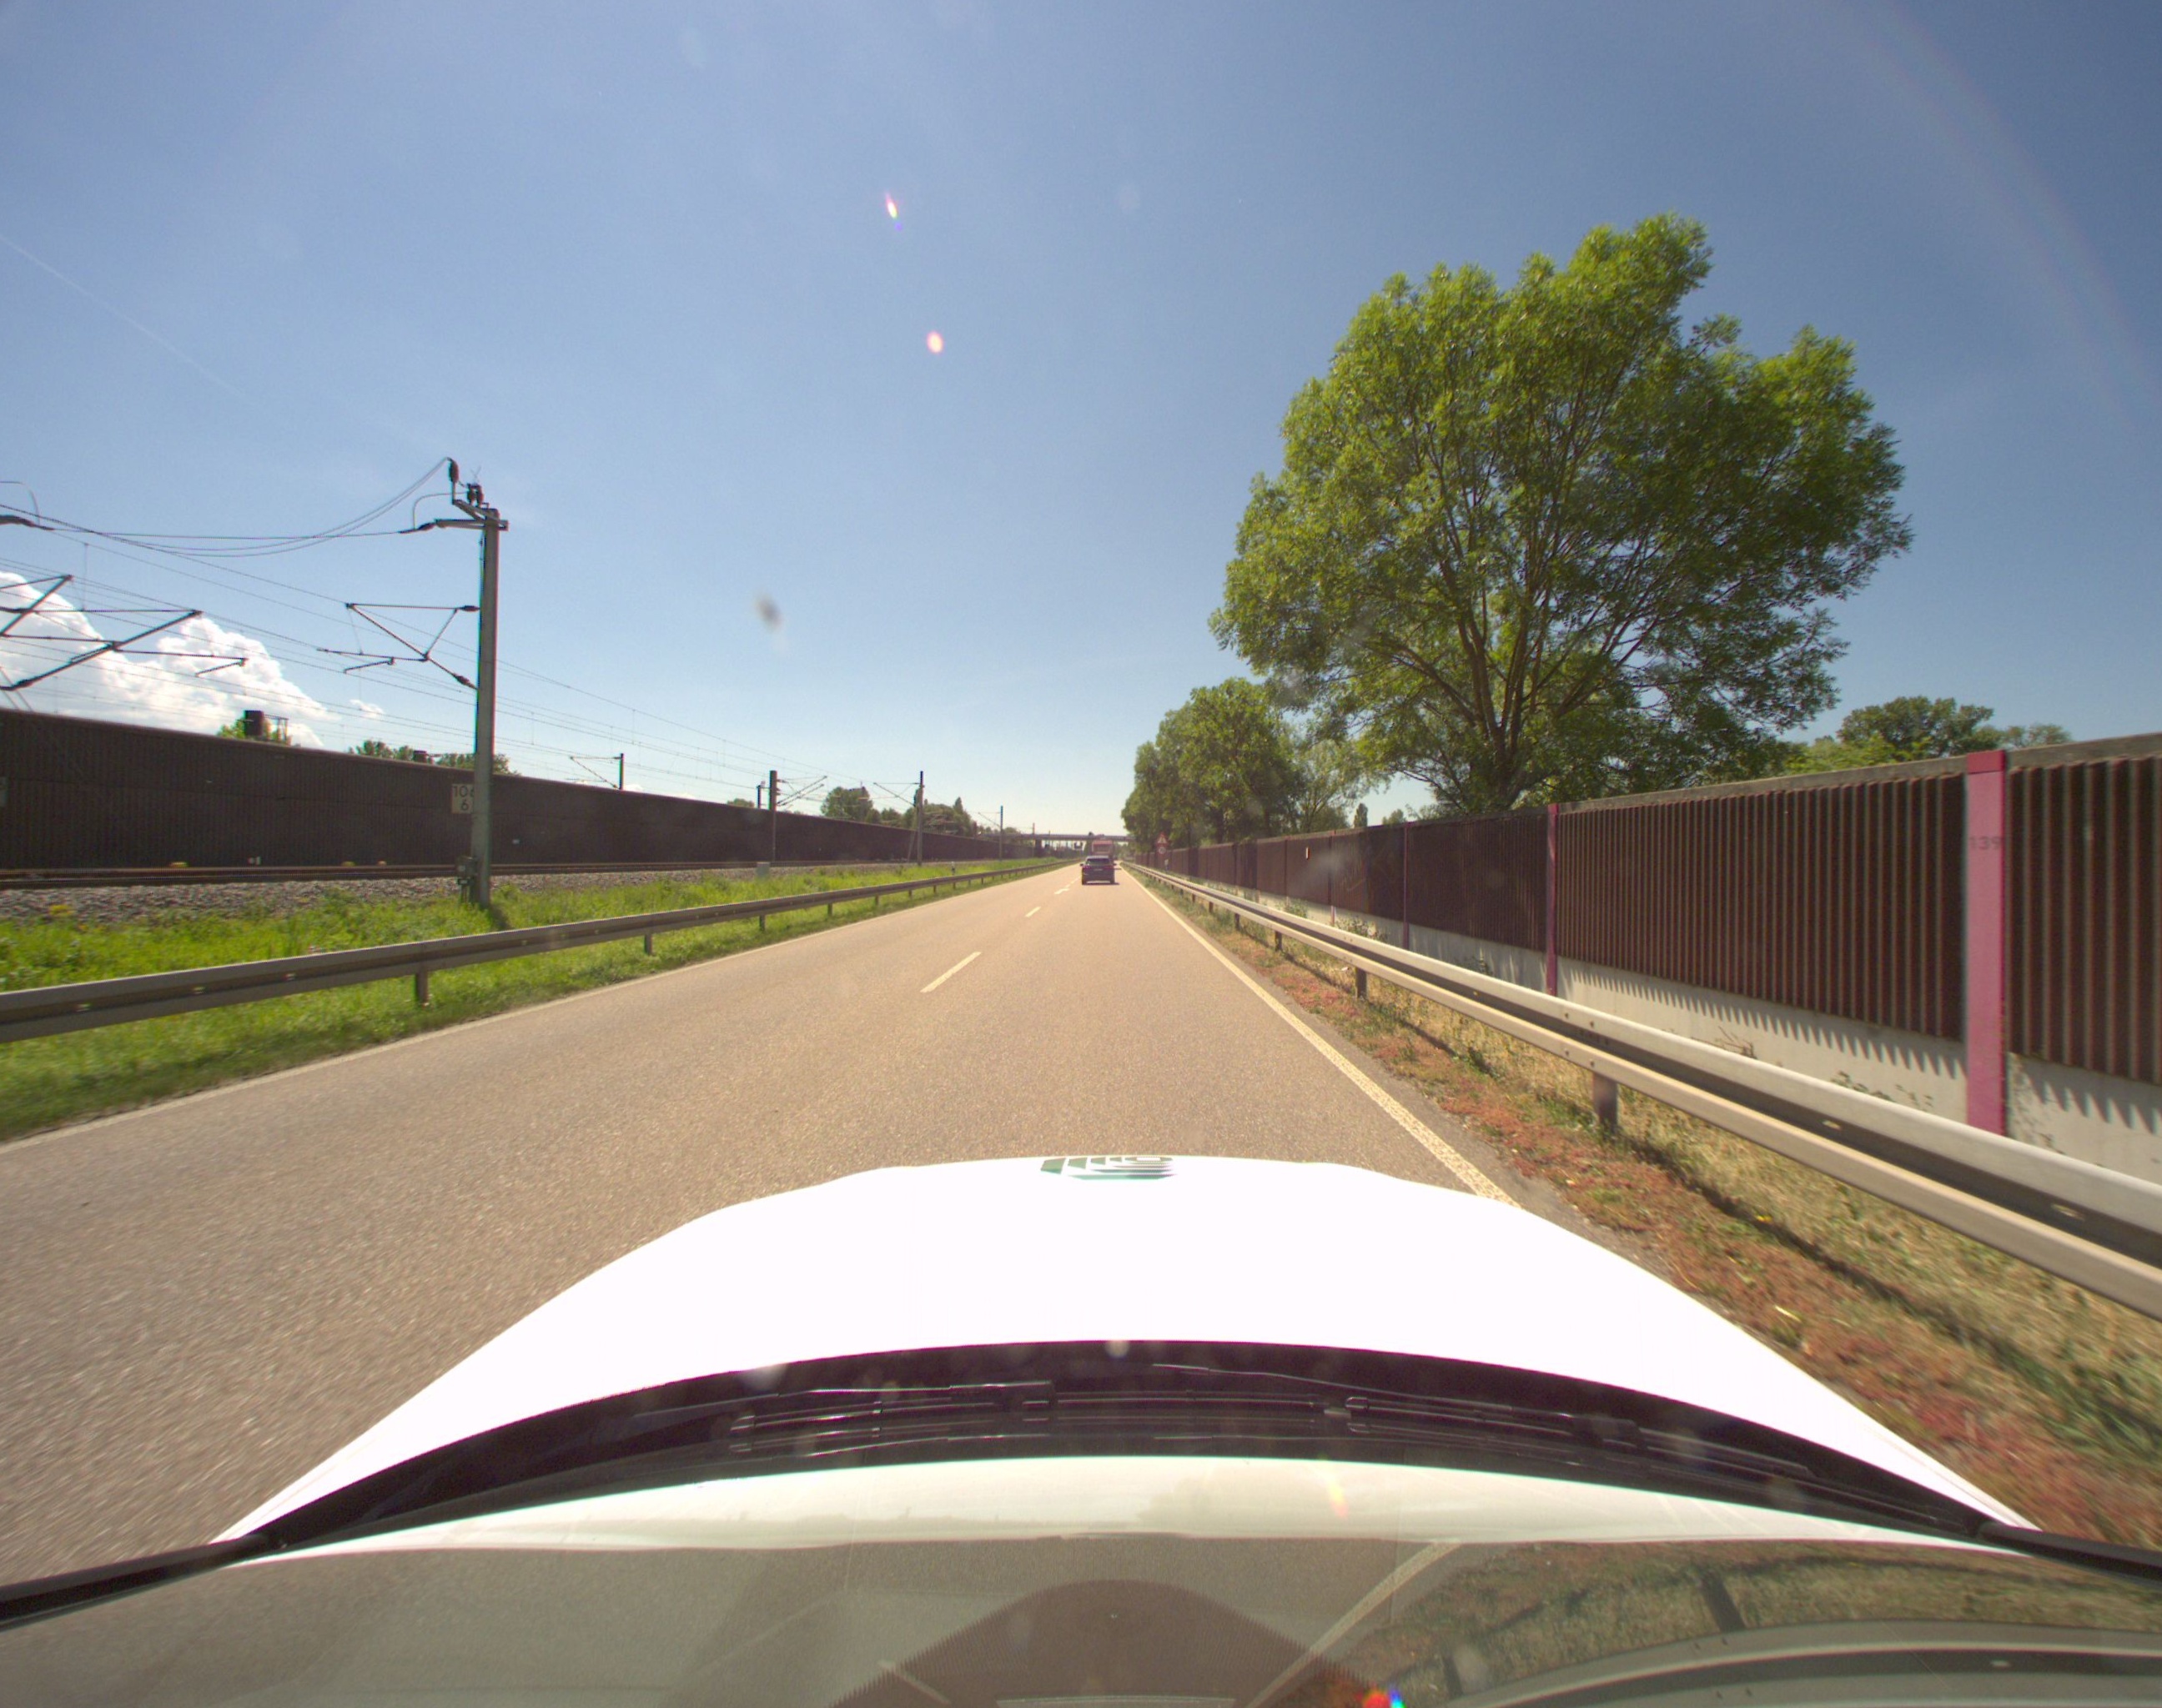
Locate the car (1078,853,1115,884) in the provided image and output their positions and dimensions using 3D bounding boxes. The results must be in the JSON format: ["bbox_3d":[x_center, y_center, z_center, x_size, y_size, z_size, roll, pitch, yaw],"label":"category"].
[{"bbox_3d":[0.935,0.795,45.309,1.836,1.623,4.230,0,0,4],"label":"car"}]

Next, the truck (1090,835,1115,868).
[{"bbox_3d":[2.690,-0.230,98.957,2.822,3.821,11.892,0,0,3],"label":"truck"}]
